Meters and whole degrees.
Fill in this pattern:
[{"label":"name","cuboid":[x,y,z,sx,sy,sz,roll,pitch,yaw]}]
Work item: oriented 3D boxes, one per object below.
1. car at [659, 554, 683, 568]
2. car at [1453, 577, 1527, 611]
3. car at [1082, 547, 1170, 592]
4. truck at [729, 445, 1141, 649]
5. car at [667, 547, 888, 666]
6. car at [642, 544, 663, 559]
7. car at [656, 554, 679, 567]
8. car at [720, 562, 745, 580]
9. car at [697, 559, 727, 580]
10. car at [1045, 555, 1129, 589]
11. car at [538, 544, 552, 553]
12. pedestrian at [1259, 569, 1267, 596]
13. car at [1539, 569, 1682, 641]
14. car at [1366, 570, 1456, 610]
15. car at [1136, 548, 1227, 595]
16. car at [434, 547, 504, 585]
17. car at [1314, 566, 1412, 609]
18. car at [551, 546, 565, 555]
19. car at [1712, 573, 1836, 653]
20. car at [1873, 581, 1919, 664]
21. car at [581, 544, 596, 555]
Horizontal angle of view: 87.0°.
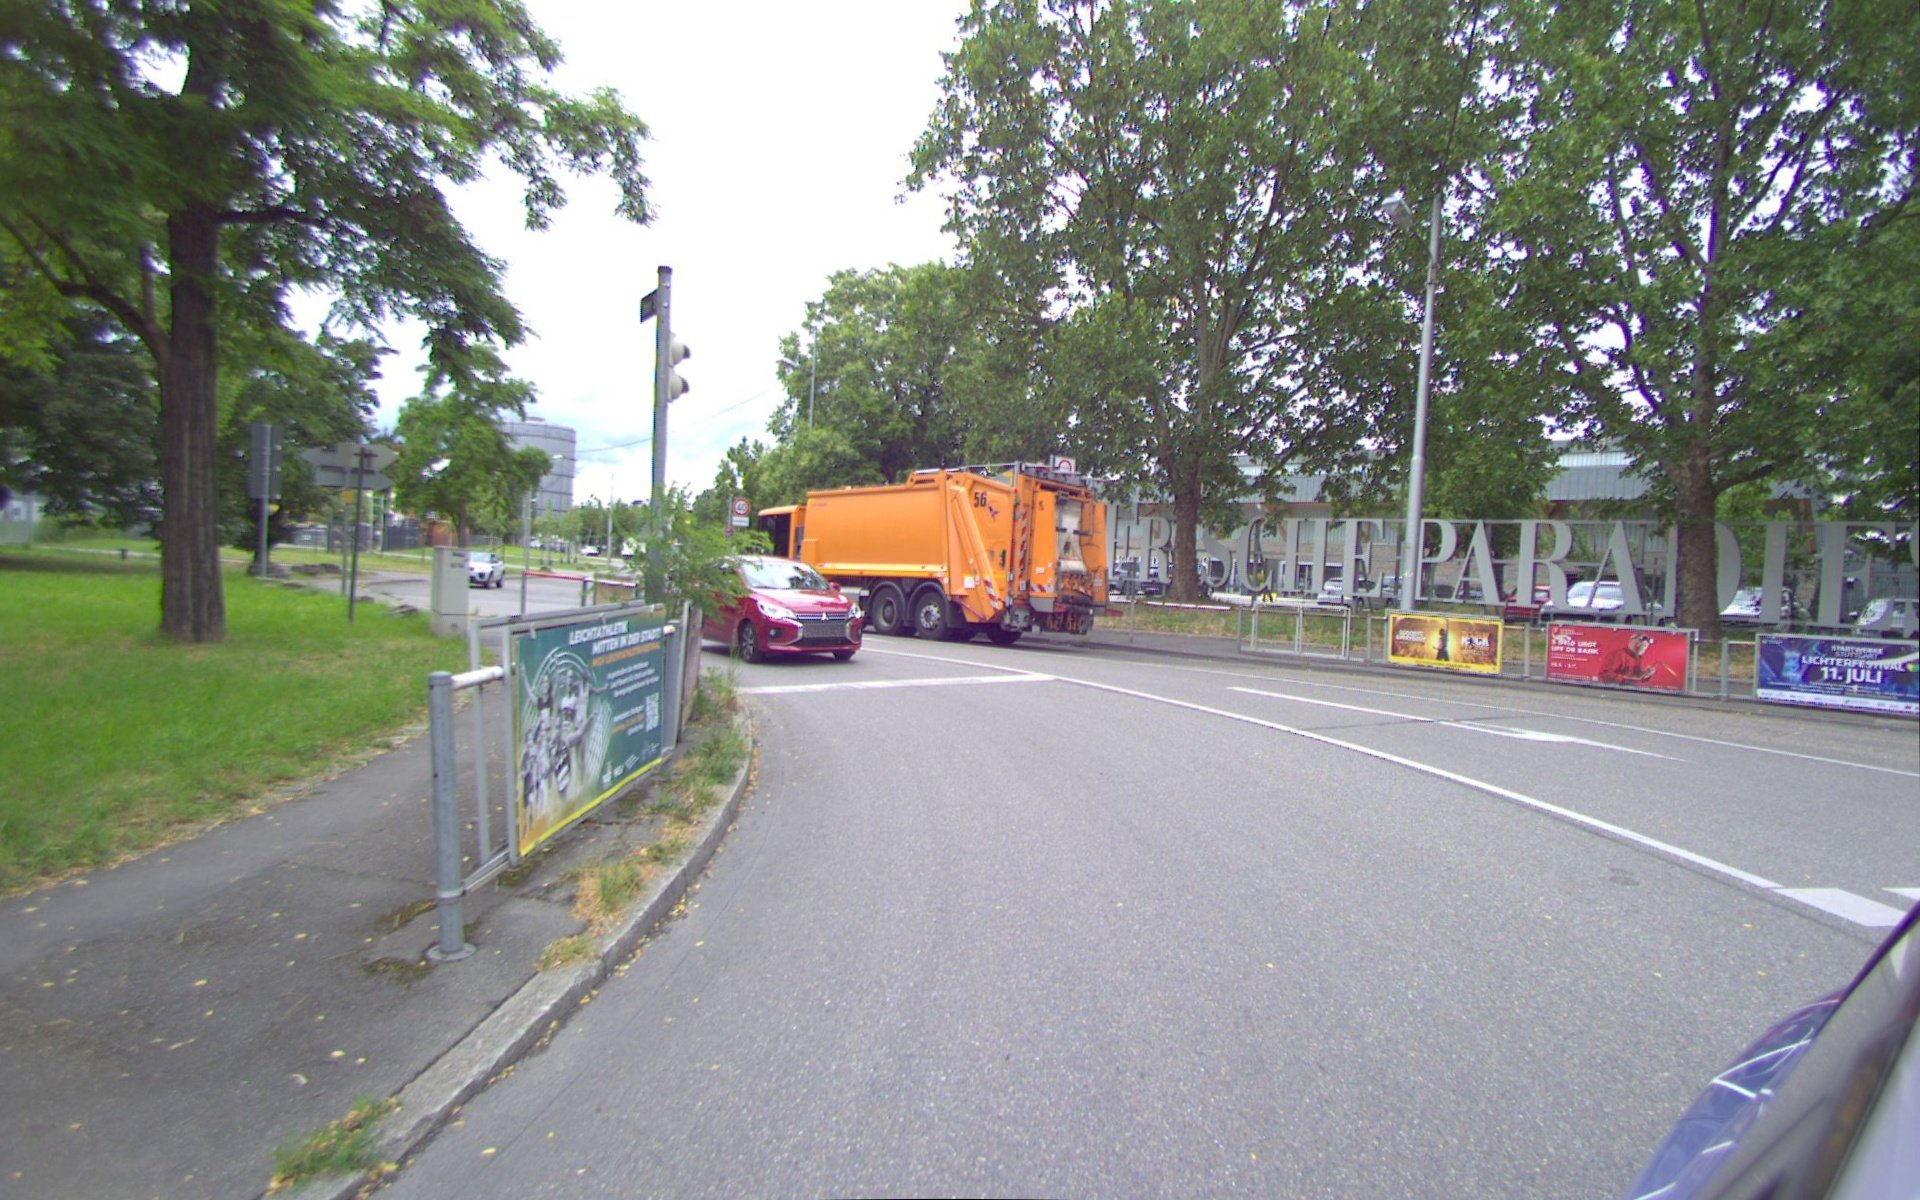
[{"label":"car","cuboid":[-36.279,-4.931,126.807,2.006,1.555,3.949,2,2,-29]},{"label":"car","cuboid":[28.082,-0.313,53.572,4.560,1.580,1.997,2,2,-42]},{"label":"car","cuboid":[8.532,-1.544,51.837,4.560,2.038,1.997,2,2,-42]},{"label":"truck","cuboid":[-1.128,-1.104,22.427,2.751,3.570,10.399,2,1,-44]},{"label":"car","cuboid":[-2.819,-0.001,14.992,1.701,1.483,3.835,0,3,-36]},{"label":"car","cuboid":[-33.377,-5.257,109.667,2.004,1.555,3.952,3,2,-19]},{"label":"car","cuboid":[-36.597,-4.934,126.514,2.006,1.554,3.949,-1,4,-28]},{"label":"car","cuboid":[-19.756,-2.519,88.098,1.682,1.424,3.376,3,1,-6]},{"label":"car","cuboid":[-18.907,-2.338,77.249,1.682,1.424,3.376,3,1,-6]},{"label":"car","cuboid":[6.921,-1.519,54.801,4.560,1.577,1.997,2,2,-42]},{"label":"car","cuboid":[-77.757,-9.699,189.605,2.006,1.555,3.949,2,2,-29]},{"label":"pedestrian","cuboid":[20.247,-1.161,67.516,0.338,1.787,0.434,4,0,25]},{"label":"car","cuboid":[17.021,0.148,26.397,4.445,1.633,1.882,3,2,-41]},{"label":"car","cuboid":[20.546,-0.456,45.988,4.560,1.580,1.997,2,2,-42]},{"label":"car","cuboid":[10.867,-1.357,49.520,4.560,2.038,1.997,2,2,-42]},{"label":"car","cuboid":[-21.648,-1.543,44.763,2.005,1.554,3.952,-1,4,-15]},{"label":"car","cuboid":[17.050,-0.495,42.705,4.560,1.580,1.997,2,2,-42]},{"label":"car","cuboid":[-76.020,-9.330,191.421,2.005,1.555,3.950,4,1,-26]},{"label":"car","cuboid":[19.085,0.325,23.657,4.244,1.633,1.589,2,2,-43]},{"label":"car","cuboid":[20.875,0.535,21.640,3.932,1.633,1.589,2,2,-43]},{"label":"car","cuboid":[-63.015,-8.556,171.580,2.005,1.555,3.950,4,1,-26]}]
